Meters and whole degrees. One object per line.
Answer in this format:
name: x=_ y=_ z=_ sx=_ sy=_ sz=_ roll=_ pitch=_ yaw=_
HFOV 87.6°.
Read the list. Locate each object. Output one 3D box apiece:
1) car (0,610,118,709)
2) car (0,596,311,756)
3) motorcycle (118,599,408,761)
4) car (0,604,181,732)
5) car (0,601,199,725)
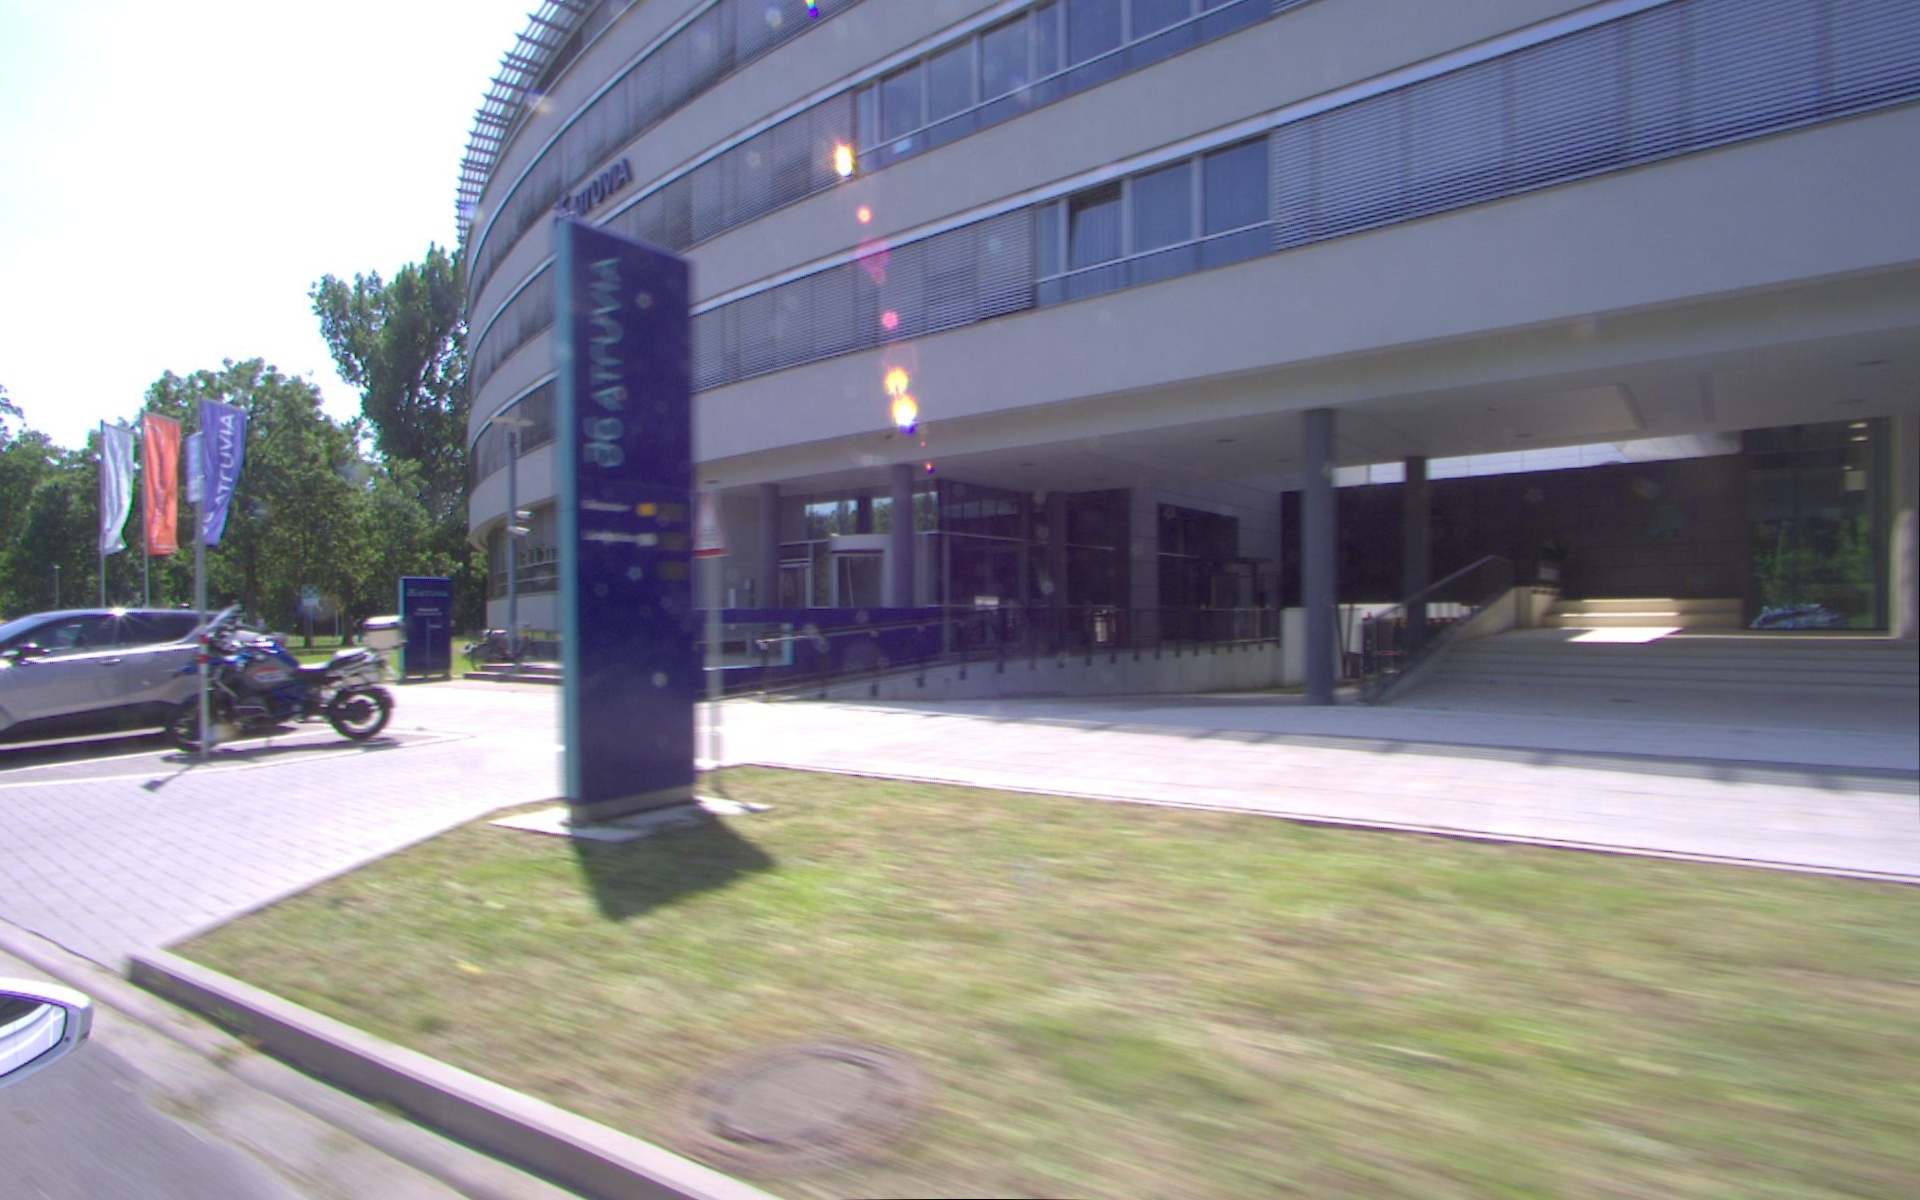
car: x=-15.777 y=0.962 z=14.943 sx=1.801 sy=1.451 sz=4.557 roll=-1 pitch=1 yaw=32
car: x=-10.008 y=0.789 z=11.139 sx=1.762 sy=1.584 sz=4.308 roll=-1 pitch=0 yaw=34
motorcycle: x=-7.377 y=0.774 z=10.825 sx=2.410 sy=1.518 sz=1.219 roll=-2 pitch=2 yaw=-30
car: x=-12.132 y=0.835 z=12.248 sx=1.633 sy=1.505 sz=3.796 roll=-1 pitch=0 yaw=35
car: x=-13.544 y=0.869 z=14.245 sx=1.815 sy=1.676 sz=3.975 roll=-1 pitch=-1 yaw=35
